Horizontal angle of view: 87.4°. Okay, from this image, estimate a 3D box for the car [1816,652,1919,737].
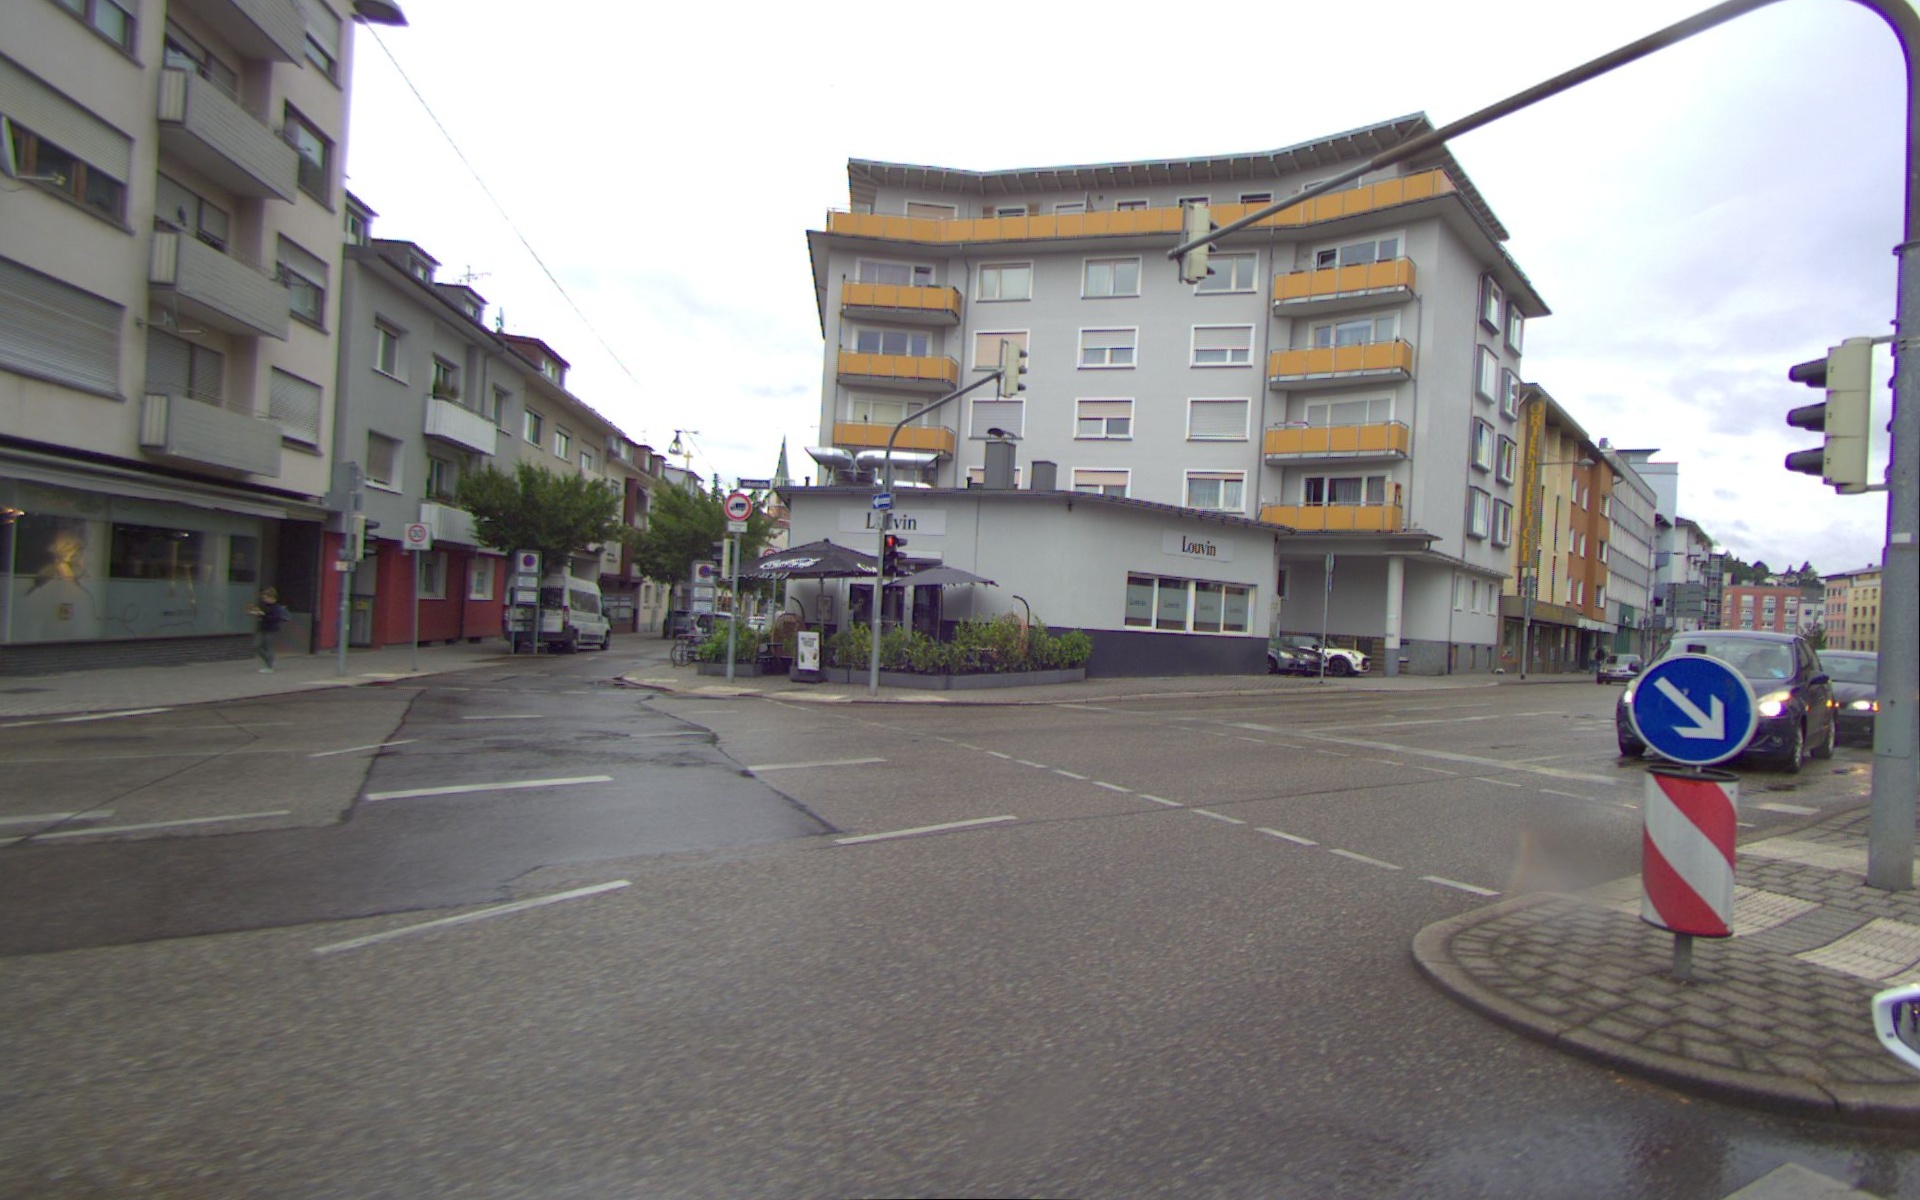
[{"bbox_3d":[18.670,1.887,20.498,1.626,1.472,3.968,3,-1,43],"label":"car"}]

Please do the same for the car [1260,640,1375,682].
[{"bbox_3d":[12.665,2.152,35.696,3.579,1.356,1.489,-1,-3,39],"label":"car"}]

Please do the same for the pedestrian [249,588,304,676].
[{"bbox_3d":[-13.510,0.646,19.848,0.519,1.672,0.602,6,0,31],"label":"pedestrian"}]

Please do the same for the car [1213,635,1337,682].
[{"bbox_3d":[10.682,1.971,34.207,3.715,1.439,1.630,-1,-3,42],"label":"car"}]

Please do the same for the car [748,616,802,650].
[{"bbox_3d":[-8.572,1.493,46.786,1.865,1.457,3.999,3,-1,-2],"label":"car"}]

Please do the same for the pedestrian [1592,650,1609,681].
[{"bbox_3d":[38.684,3.977,60.664,0.568,1.811,0.823,8,2,41],"label":"pedestrian"}]

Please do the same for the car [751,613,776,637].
[{"bbox_3d":[-18.937,2.390,97.076,1.964,1.884,3.994,5,1,-8],"label":"car"}]

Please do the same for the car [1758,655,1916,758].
[{"bbox_3d":[14.174,1.623,16.174,3.700,1.416,1.541,3,-2,-43],"label":"car"}]

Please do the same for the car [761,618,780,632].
[{"bbox_3d":[-21.218,2.755,112.353,1.868,1.457,3.994,3,-1,-9],"label":"car"}]

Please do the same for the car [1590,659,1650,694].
[{"bbox_3d":[30.653,3.557,46.591,1.709,1.384,4.090,2,-3,42],"label":"car"}]

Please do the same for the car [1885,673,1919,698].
[{"bbox_3d":[60.715,5.505,64.641,1.646,1.414,3.846,1,-2,42],"label":"car"}]

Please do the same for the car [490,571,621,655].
[{"bbox_3d":[-13.602,0.466,34.211,2.360,2.542,5.257,3,-1,-2],"label":"car"}]

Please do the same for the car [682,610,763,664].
[{"bbox_3d":[-7.964,1.206,34.043,1.865,1.630,3.999,3,-1,-2],"label":"car"}]

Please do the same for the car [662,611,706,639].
[{"bbox_3d":[-15.556,1.392,56.800,1.868,1.457,3.994,3,-1,-9],"label":"car"}]

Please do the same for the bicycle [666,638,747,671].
[{"bbox_3d":[-7.196,1.545,28.618,2.171,0.819,0.618,3,-1,-10],"label":"bicycle"}]

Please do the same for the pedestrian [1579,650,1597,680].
[{"bbox_3d":[38.220,3.952,61.104,0.622,1.697,0.904,8,2,40],"label":"pedestrian"}]

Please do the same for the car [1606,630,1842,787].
[{"bbox_3d":[9.932,1.272,12.930,4.182,1.636,1.739,3,-1,-43],"label":"car"}]

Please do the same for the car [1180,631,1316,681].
[{"bbox_3d":[9.220,1.790,32.285,3.770,1.439,1.789,-1,-5,42],"label":"car"}]
